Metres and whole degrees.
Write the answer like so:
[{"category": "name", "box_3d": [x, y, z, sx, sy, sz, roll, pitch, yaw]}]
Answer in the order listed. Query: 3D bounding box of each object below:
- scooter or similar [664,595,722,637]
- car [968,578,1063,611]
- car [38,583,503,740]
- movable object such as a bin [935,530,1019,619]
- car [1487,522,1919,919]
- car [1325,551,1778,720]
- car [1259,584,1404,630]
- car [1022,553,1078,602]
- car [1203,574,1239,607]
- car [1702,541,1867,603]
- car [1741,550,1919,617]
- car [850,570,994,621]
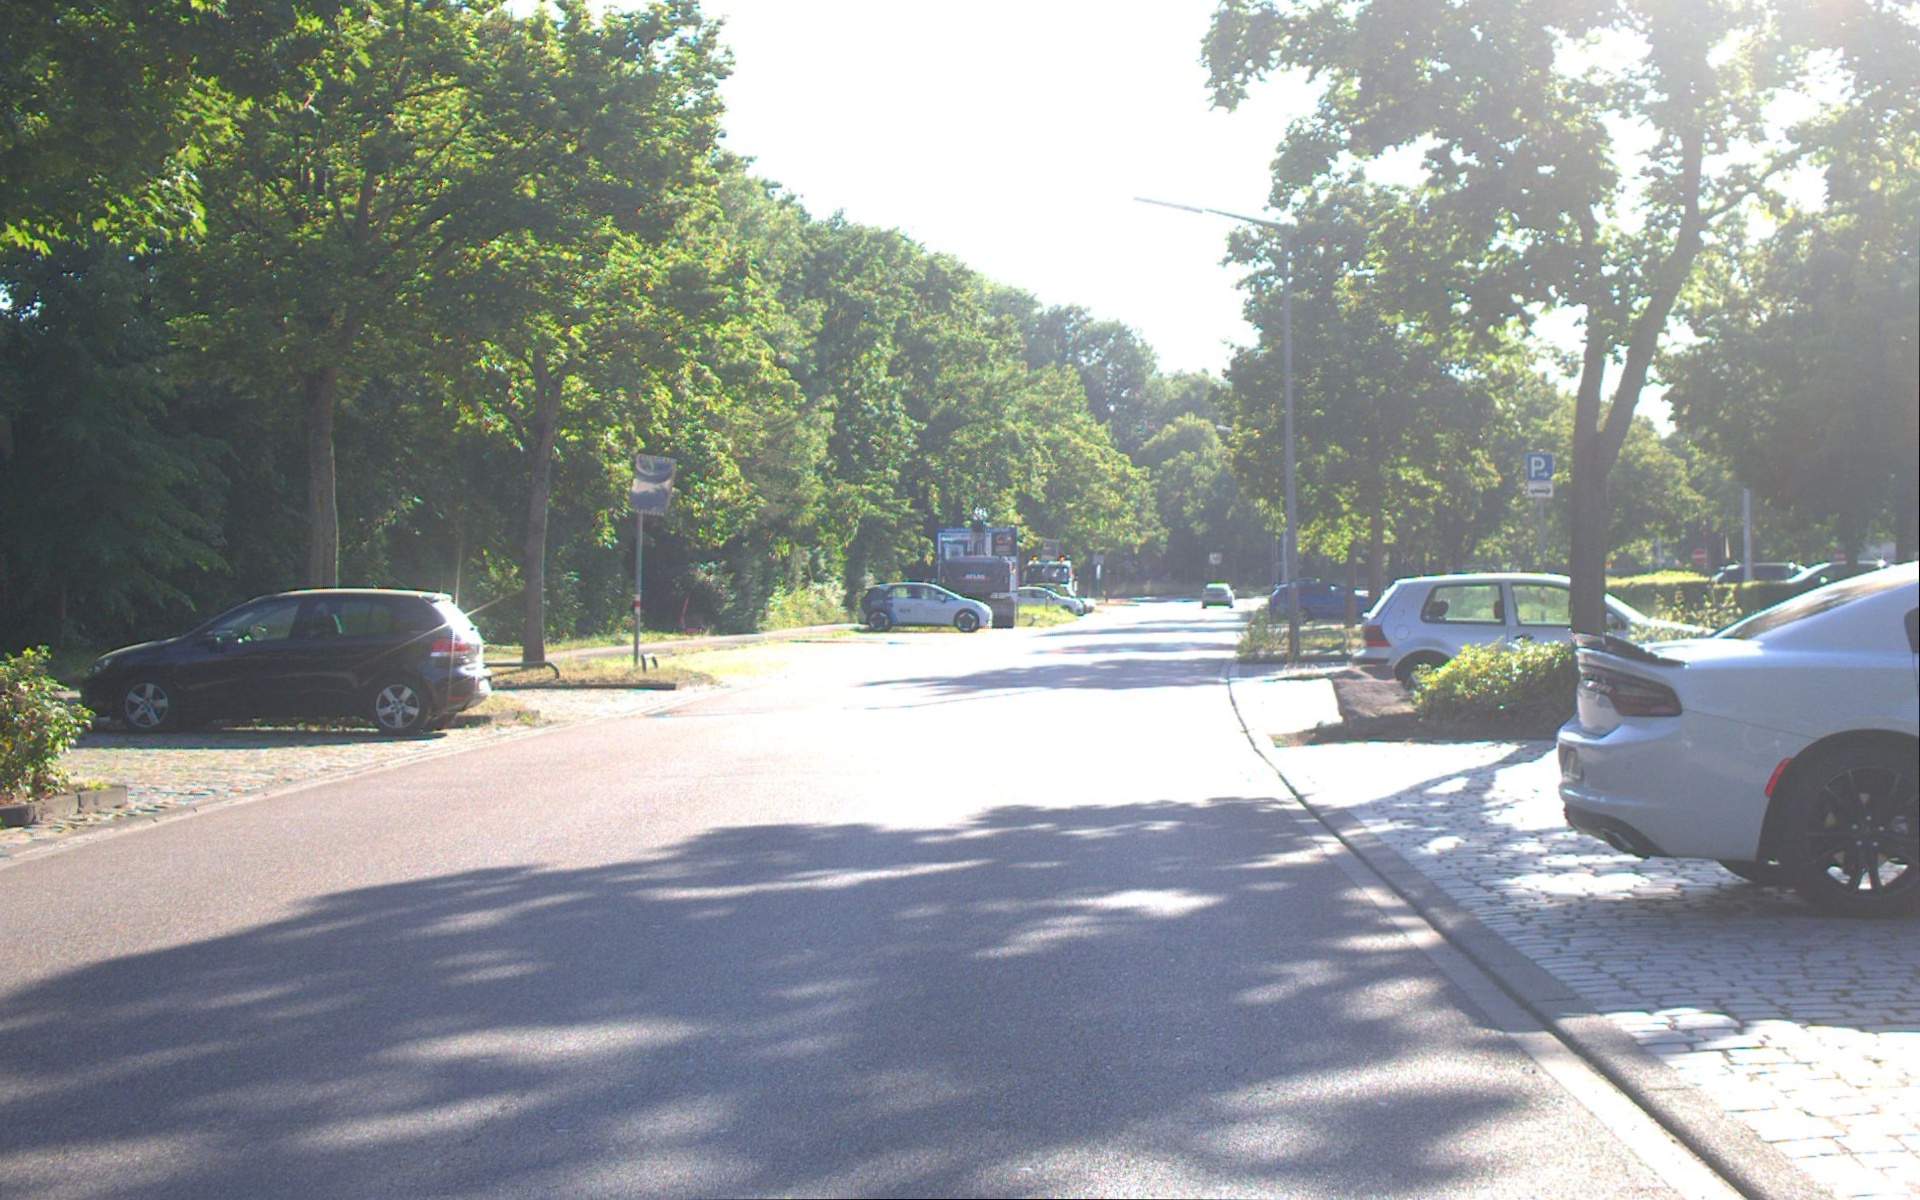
[{"category": "scooter or similar", "box_3d": [-7.337, 0.430, 94.635, 0.577, 1.141, 1.580, -1, 0, 45]}, {"category": "car", "box_3d": [2.598, -0.260, 161.623, 4.358, 1.474, 2.000, -1, 1, -1]}, {"category": "car", "box_3d": [-7.081, 0.613, 35.619, 4.359, 1.474, 2.000, 1, 1, 2]}, {"category": "movable object such as a bin", "box_3d": [0.624, -0.902, 121.504, 2.838, 3.058, 4.927, -1, 0, 1]}, {"category": "car", "box_3d": [5.056, 0.441, 14.906, 5.175, 1.568, 2.158, -1, 0, 0]}, {"category": "car", "box_3d": [6.027, 0.354, 34.988, 4.360, 1.474, 1.999, -3, 0, 12]}, {"category": "car", "box_3d": [12.627, 0.224, 117.036, 4.842, 1.474, 2.000, -1, 1, 6]}, {"category": "car", "box_3d": [4.463, -1.110, 171.084, 2.516, 2.378, 4.373, -1, 0, -2]}, {"category": "car", "box_3d": [15.529, -0.576, 204.801, 1.994, 1.897, 4.000, -1, 0, 3]}, {"category": "car", "box_3d": [23.619, -0.813, 98.608, 4.359, 1.700, 2.000, -1, 1, 7]}, {"category": "car", "box_3d": [23.098, -0.440, 91.047, 4.430, 1.700, 2.059, -1, 0, 4]}, {"category": "car", "box_3d": [-1.188, -0.158, 108.926, 4.359, 1.542, 2.000, -1, 0, 6]}]
